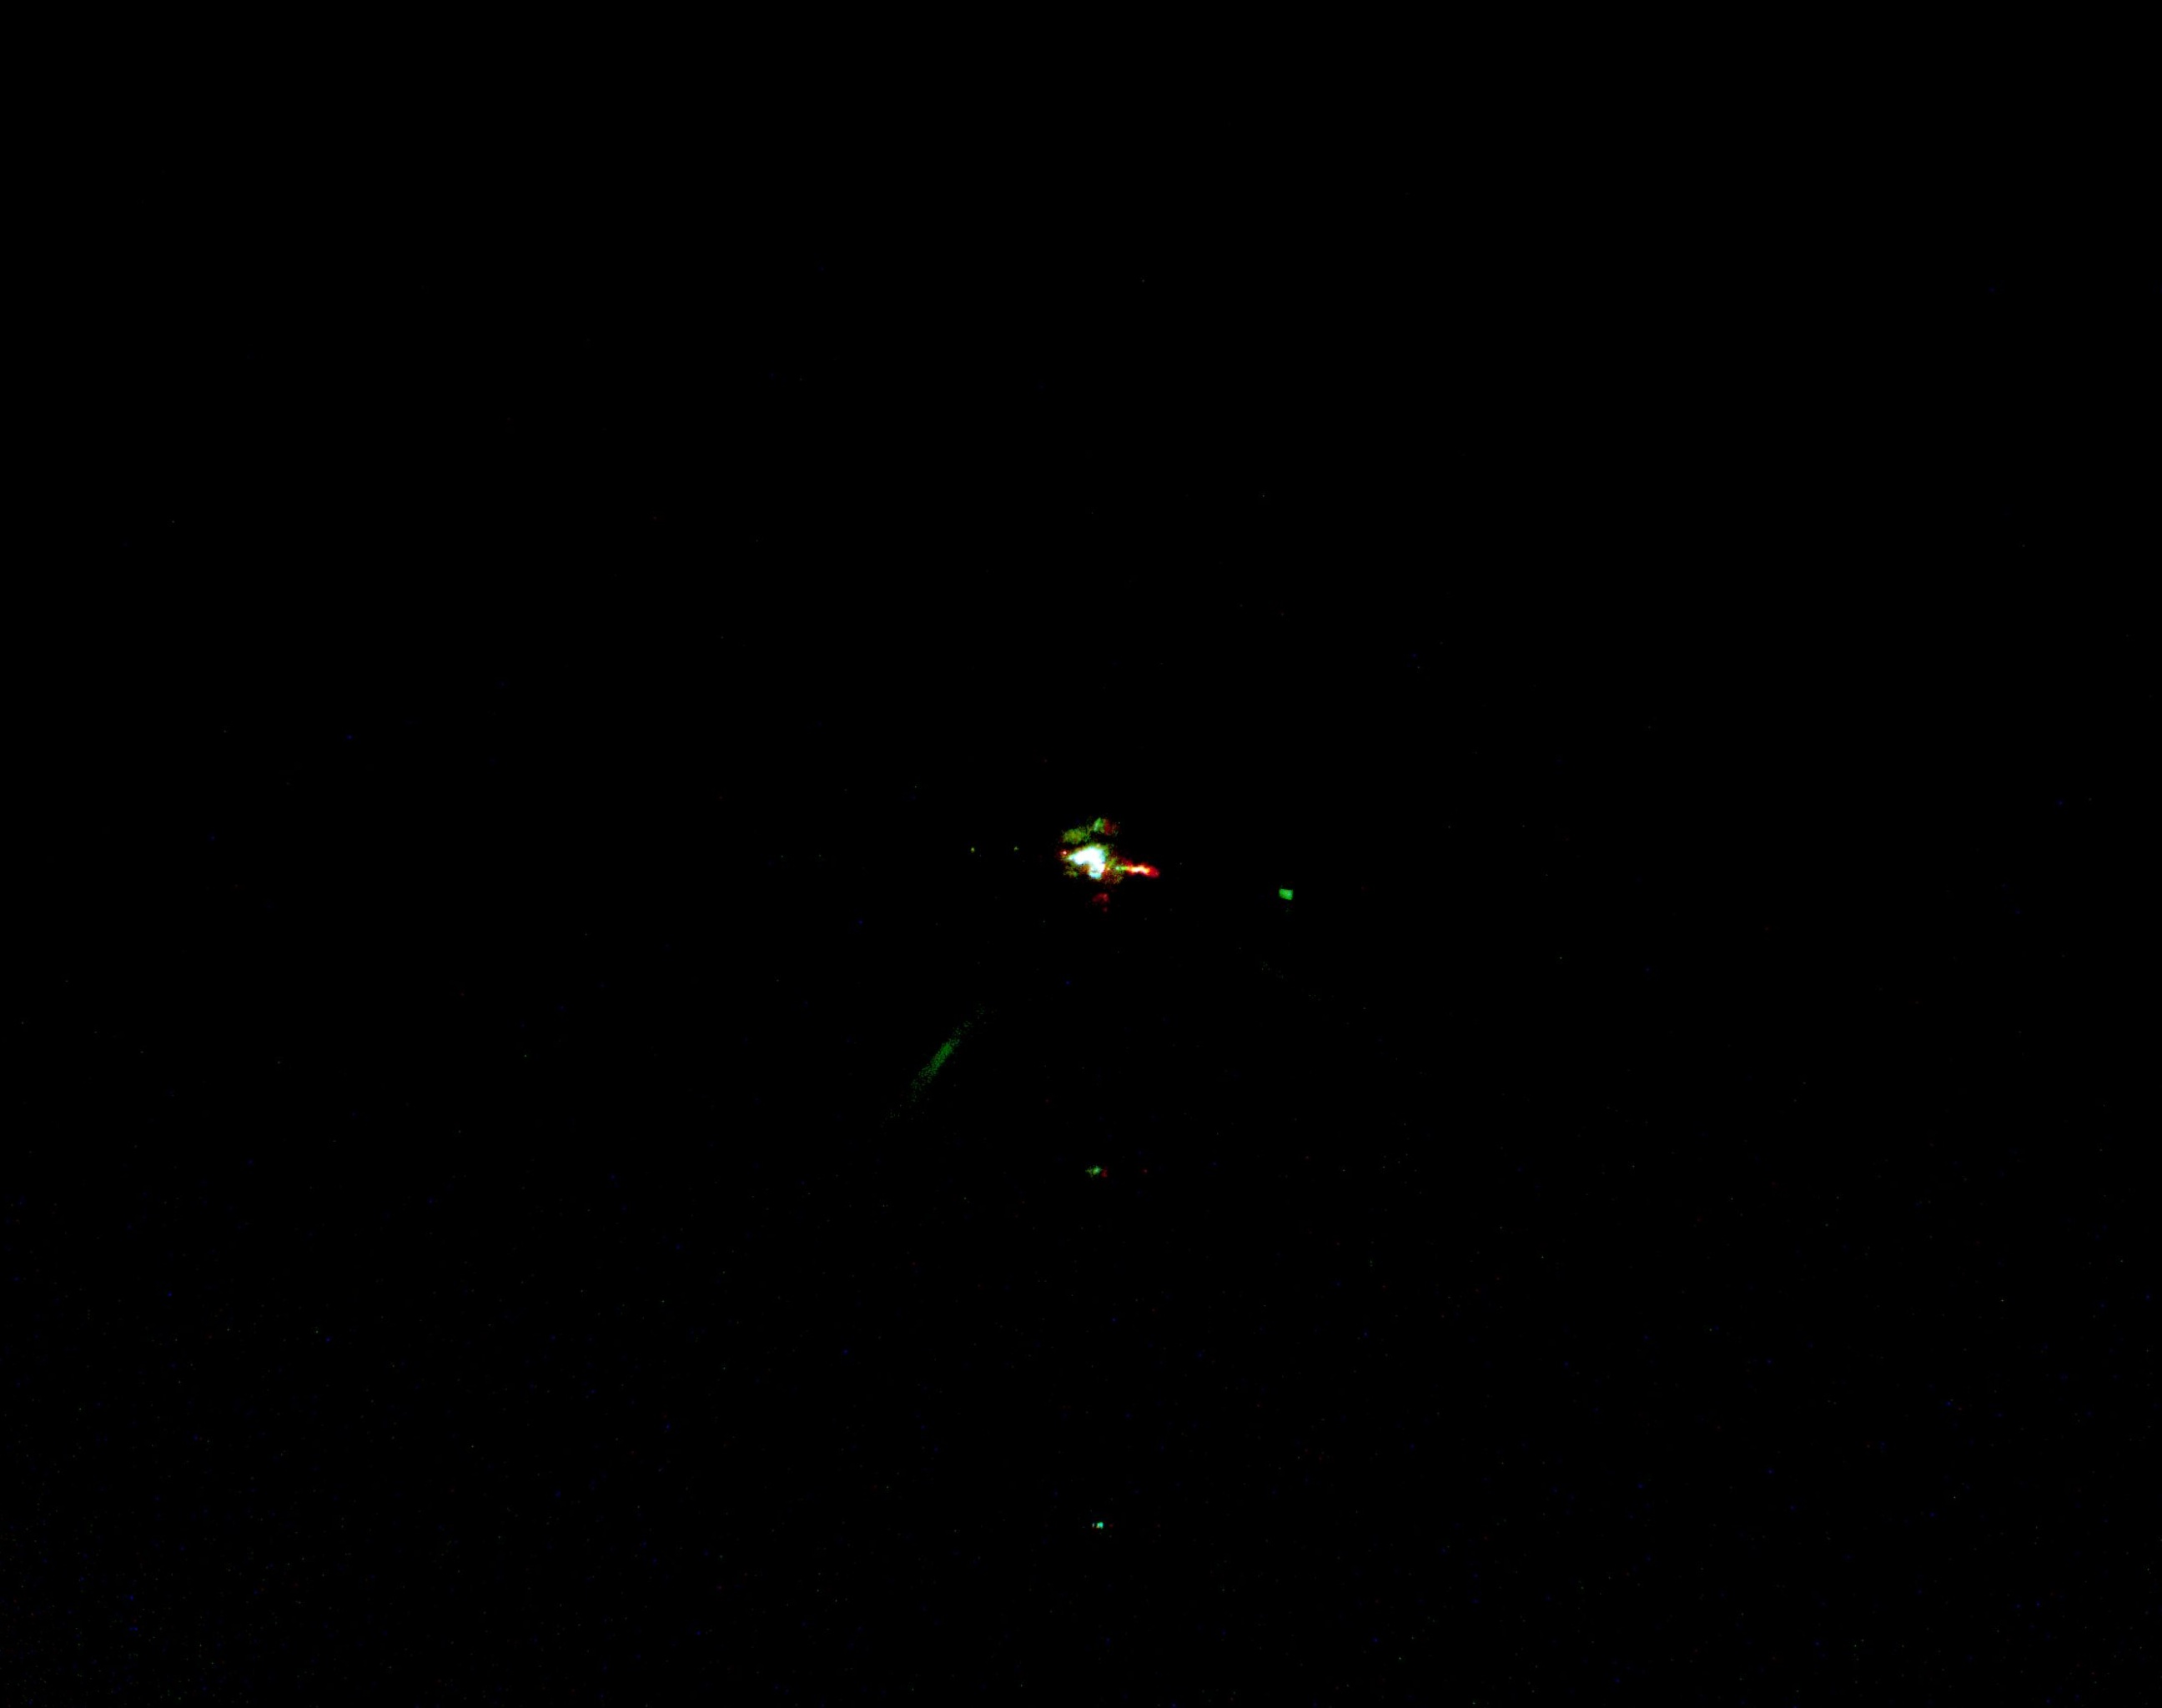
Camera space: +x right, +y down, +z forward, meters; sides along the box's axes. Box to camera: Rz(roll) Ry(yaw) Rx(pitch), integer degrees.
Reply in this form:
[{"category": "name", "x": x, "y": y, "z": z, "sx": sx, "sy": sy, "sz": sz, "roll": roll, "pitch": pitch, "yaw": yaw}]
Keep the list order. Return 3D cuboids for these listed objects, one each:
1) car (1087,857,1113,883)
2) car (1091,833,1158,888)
[{"category": "car", "x": 1.624, "y": 1.418, "z": 71.121, "sx": 1.988, "sy": 2.013, "sz": 3.997, "roll": -5, "pitch": -1, "yaw": -2}, {"category": "car", "x": 1.708, "y": 0.243, "z": 32.962, "sx": 2.449, "sy": 1.958, "sz": 4.913, "roll": -2, "pitch": 0, "yaw": 2}]
